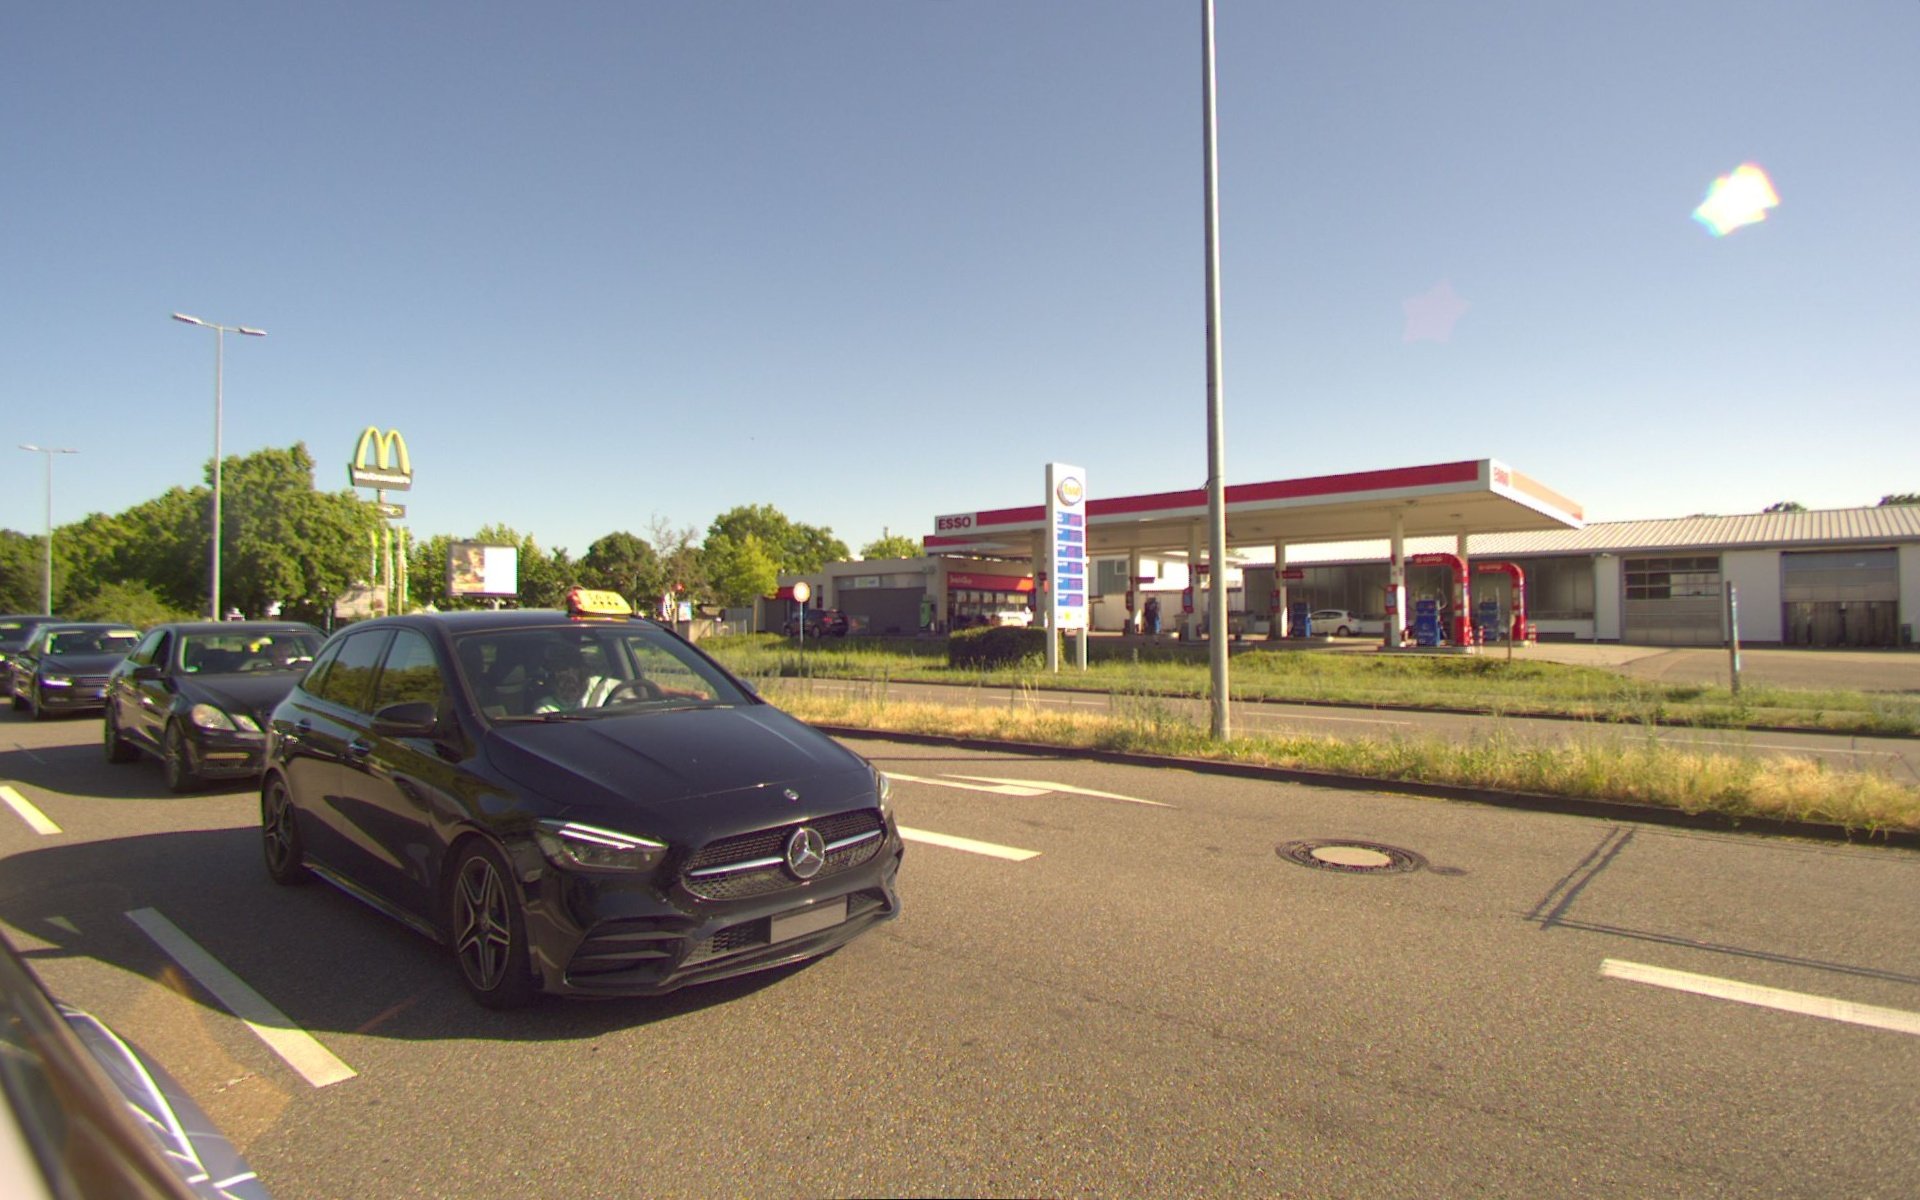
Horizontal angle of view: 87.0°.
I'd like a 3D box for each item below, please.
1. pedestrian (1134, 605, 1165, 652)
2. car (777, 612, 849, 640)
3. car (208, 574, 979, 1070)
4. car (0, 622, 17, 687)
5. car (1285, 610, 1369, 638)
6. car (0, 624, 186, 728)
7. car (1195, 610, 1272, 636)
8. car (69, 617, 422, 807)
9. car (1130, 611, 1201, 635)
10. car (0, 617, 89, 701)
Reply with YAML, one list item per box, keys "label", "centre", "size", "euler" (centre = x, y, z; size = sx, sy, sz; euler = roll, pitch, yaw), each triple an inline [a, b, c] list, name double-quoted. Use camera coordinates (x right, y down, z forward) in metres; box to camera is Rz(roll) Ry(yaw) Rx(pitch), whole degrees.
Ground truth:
- label: "pedestrian"
  centre: [7.269, 1.069, 38.848]
  size: [0.903, 1.763, 0.780]
  euler: [-1, 0, 40]
- label: "car"
  centre: [-7.975, 1.386, 54.789]
  size: [3.975, 1.420, 1.661]
  euler: [-1, -4, 40]
- label: "car"
  centre: [-2.157, 0.686, 5.163]
  size: [4.400, 1.502, 1.741]
  euler: [-1, 0, 40]
- label: "car"
  centre: [-25.214, 1.369, 25.547]
  size: [3.774, 1.567, 1.615]
  euler: [-1, -1, 40]
- label: "car"
  centre: [19.843, 1.301, 54.840]
  size: [3.975, 1.420, 1.661]
  euler: [-1, -4, 40]
- label: "car"
  centre: [-14.424, 1.154, 16.672]
  size: [4.284, 1.438, 1.775]
  euler: [-1, 0, 40]
- label: "car"
  centre: [15.809, 1.353, 58.545]
  size: [3.975, 1.420, 1.661]
  euler: [-1, -4, 40]
- label: "car"
  centre: [-7.263, 0.915, 10.108]
  size: [4.400, 1.449, 1.845]
  euler: [-1, 0, 40]
- label: "car"
  centre: [12.443, 1.396, 61.382]
  size: [3.975, 1.420, 1.661]
  euler: [-1, -4, 40]
- label: "car"
  centre: [-19.951, 1.204, 21.458]
  size: [3.876, 1.629, 1.653]
  euler: [-2, -1, 40]
